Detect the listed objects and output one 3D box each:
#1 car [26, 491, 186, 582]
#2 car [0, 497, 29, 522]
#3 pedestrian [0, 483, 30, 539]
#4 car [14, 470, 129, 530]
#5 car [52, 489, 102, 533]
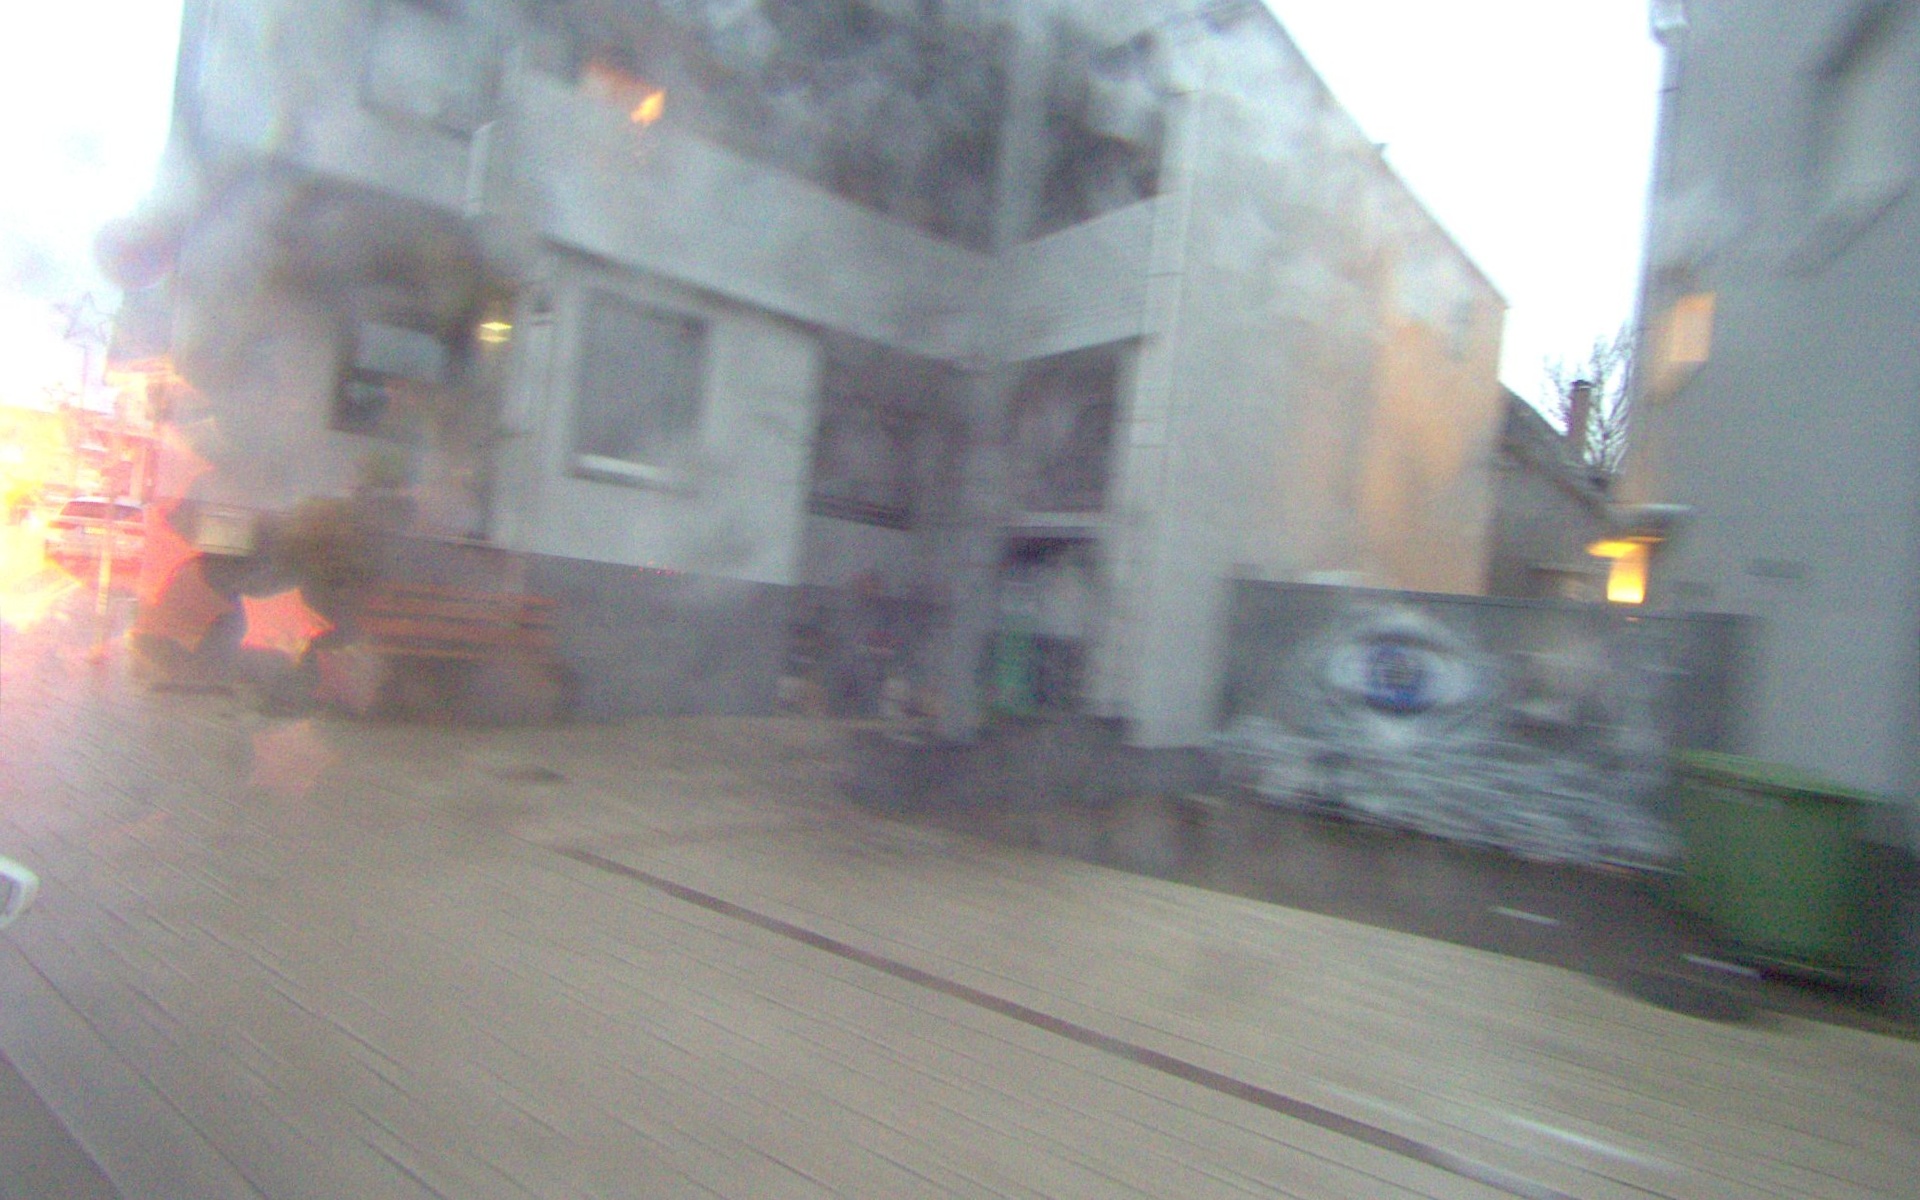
[{"bbox_3d":[-17.515,-1.310,20.851,1.870,1.485,4.502,5,1,-33],"label":"car"},{"bbox_3d":[-55.946,-5.363,59.242,1.526,1.263,3.604,1,4,-41],"label":"car"},{"bbox_3d":[-34.222,-3.201,36.336,0.660,1.910,0.816,8,-1,-36],"label":"pedestrian"},{"bbox_3d":[-40.730,-4.531,46.237,3.683,2.037,1.671,9,-2,-39],"label":"car"},{"bbox_3d":[-46.547,-4.697,53.004,1.637,2.039,3.949,5,1,-45],"label":"car"}]
